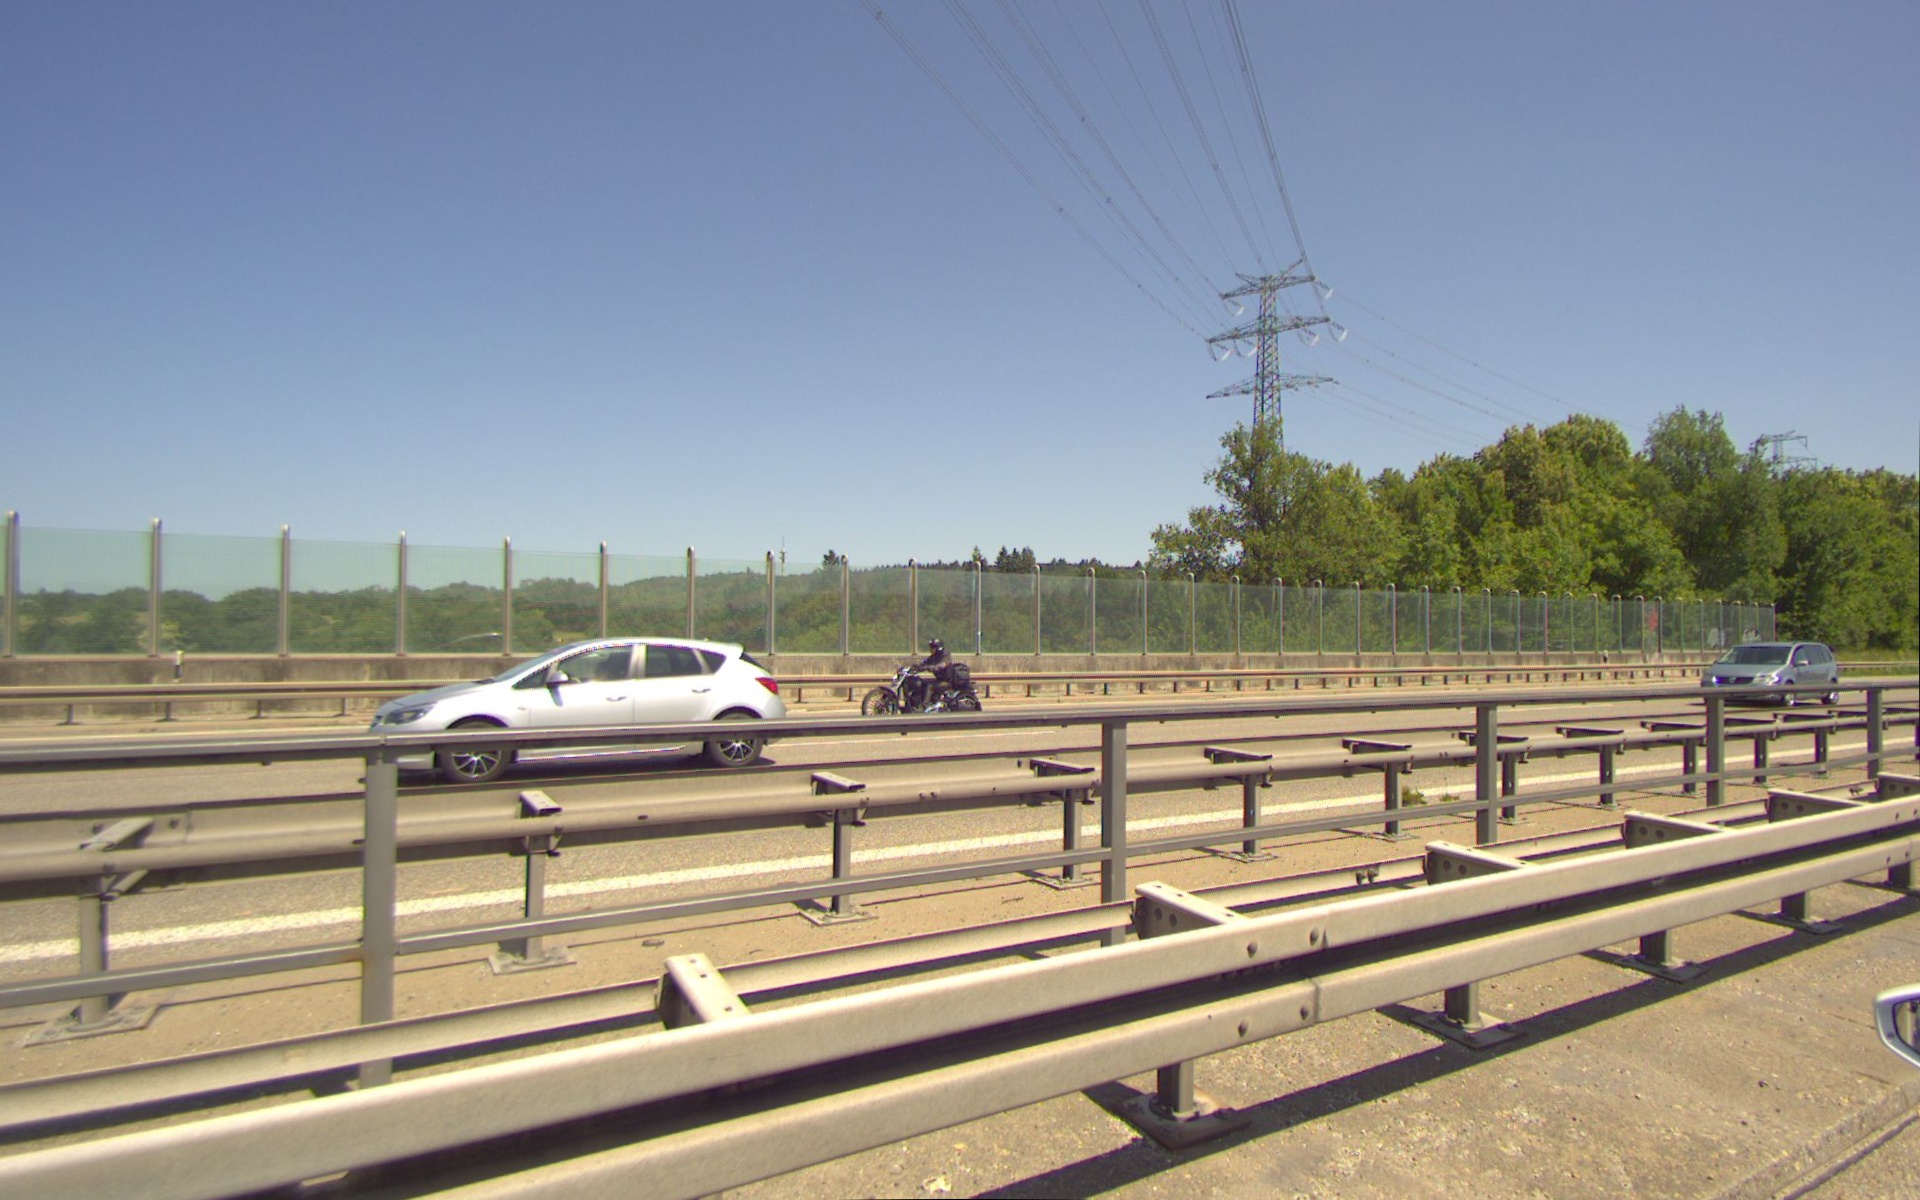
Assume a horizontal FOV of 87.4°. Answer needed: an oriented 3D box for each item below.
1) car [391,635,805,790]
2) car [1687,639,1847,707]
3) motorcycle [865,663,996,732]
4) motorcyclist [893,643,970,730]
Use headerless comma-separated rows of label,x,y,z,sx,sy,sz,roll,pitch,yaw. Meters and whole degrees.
car,-3.982,1.151,11.253,4.127,1.453,1.707,2,-3,-31
car,20.678,1.853,25.721,4.120,1.630,1.821,2,-4,-31
motorcycle,-0.503,1.694,17.756,2.278,1.085,0.698,1,-1,-30
motorcyclist,-0.510,1.500,17.749,1.070,1.460,0.893,1,-1,-30
